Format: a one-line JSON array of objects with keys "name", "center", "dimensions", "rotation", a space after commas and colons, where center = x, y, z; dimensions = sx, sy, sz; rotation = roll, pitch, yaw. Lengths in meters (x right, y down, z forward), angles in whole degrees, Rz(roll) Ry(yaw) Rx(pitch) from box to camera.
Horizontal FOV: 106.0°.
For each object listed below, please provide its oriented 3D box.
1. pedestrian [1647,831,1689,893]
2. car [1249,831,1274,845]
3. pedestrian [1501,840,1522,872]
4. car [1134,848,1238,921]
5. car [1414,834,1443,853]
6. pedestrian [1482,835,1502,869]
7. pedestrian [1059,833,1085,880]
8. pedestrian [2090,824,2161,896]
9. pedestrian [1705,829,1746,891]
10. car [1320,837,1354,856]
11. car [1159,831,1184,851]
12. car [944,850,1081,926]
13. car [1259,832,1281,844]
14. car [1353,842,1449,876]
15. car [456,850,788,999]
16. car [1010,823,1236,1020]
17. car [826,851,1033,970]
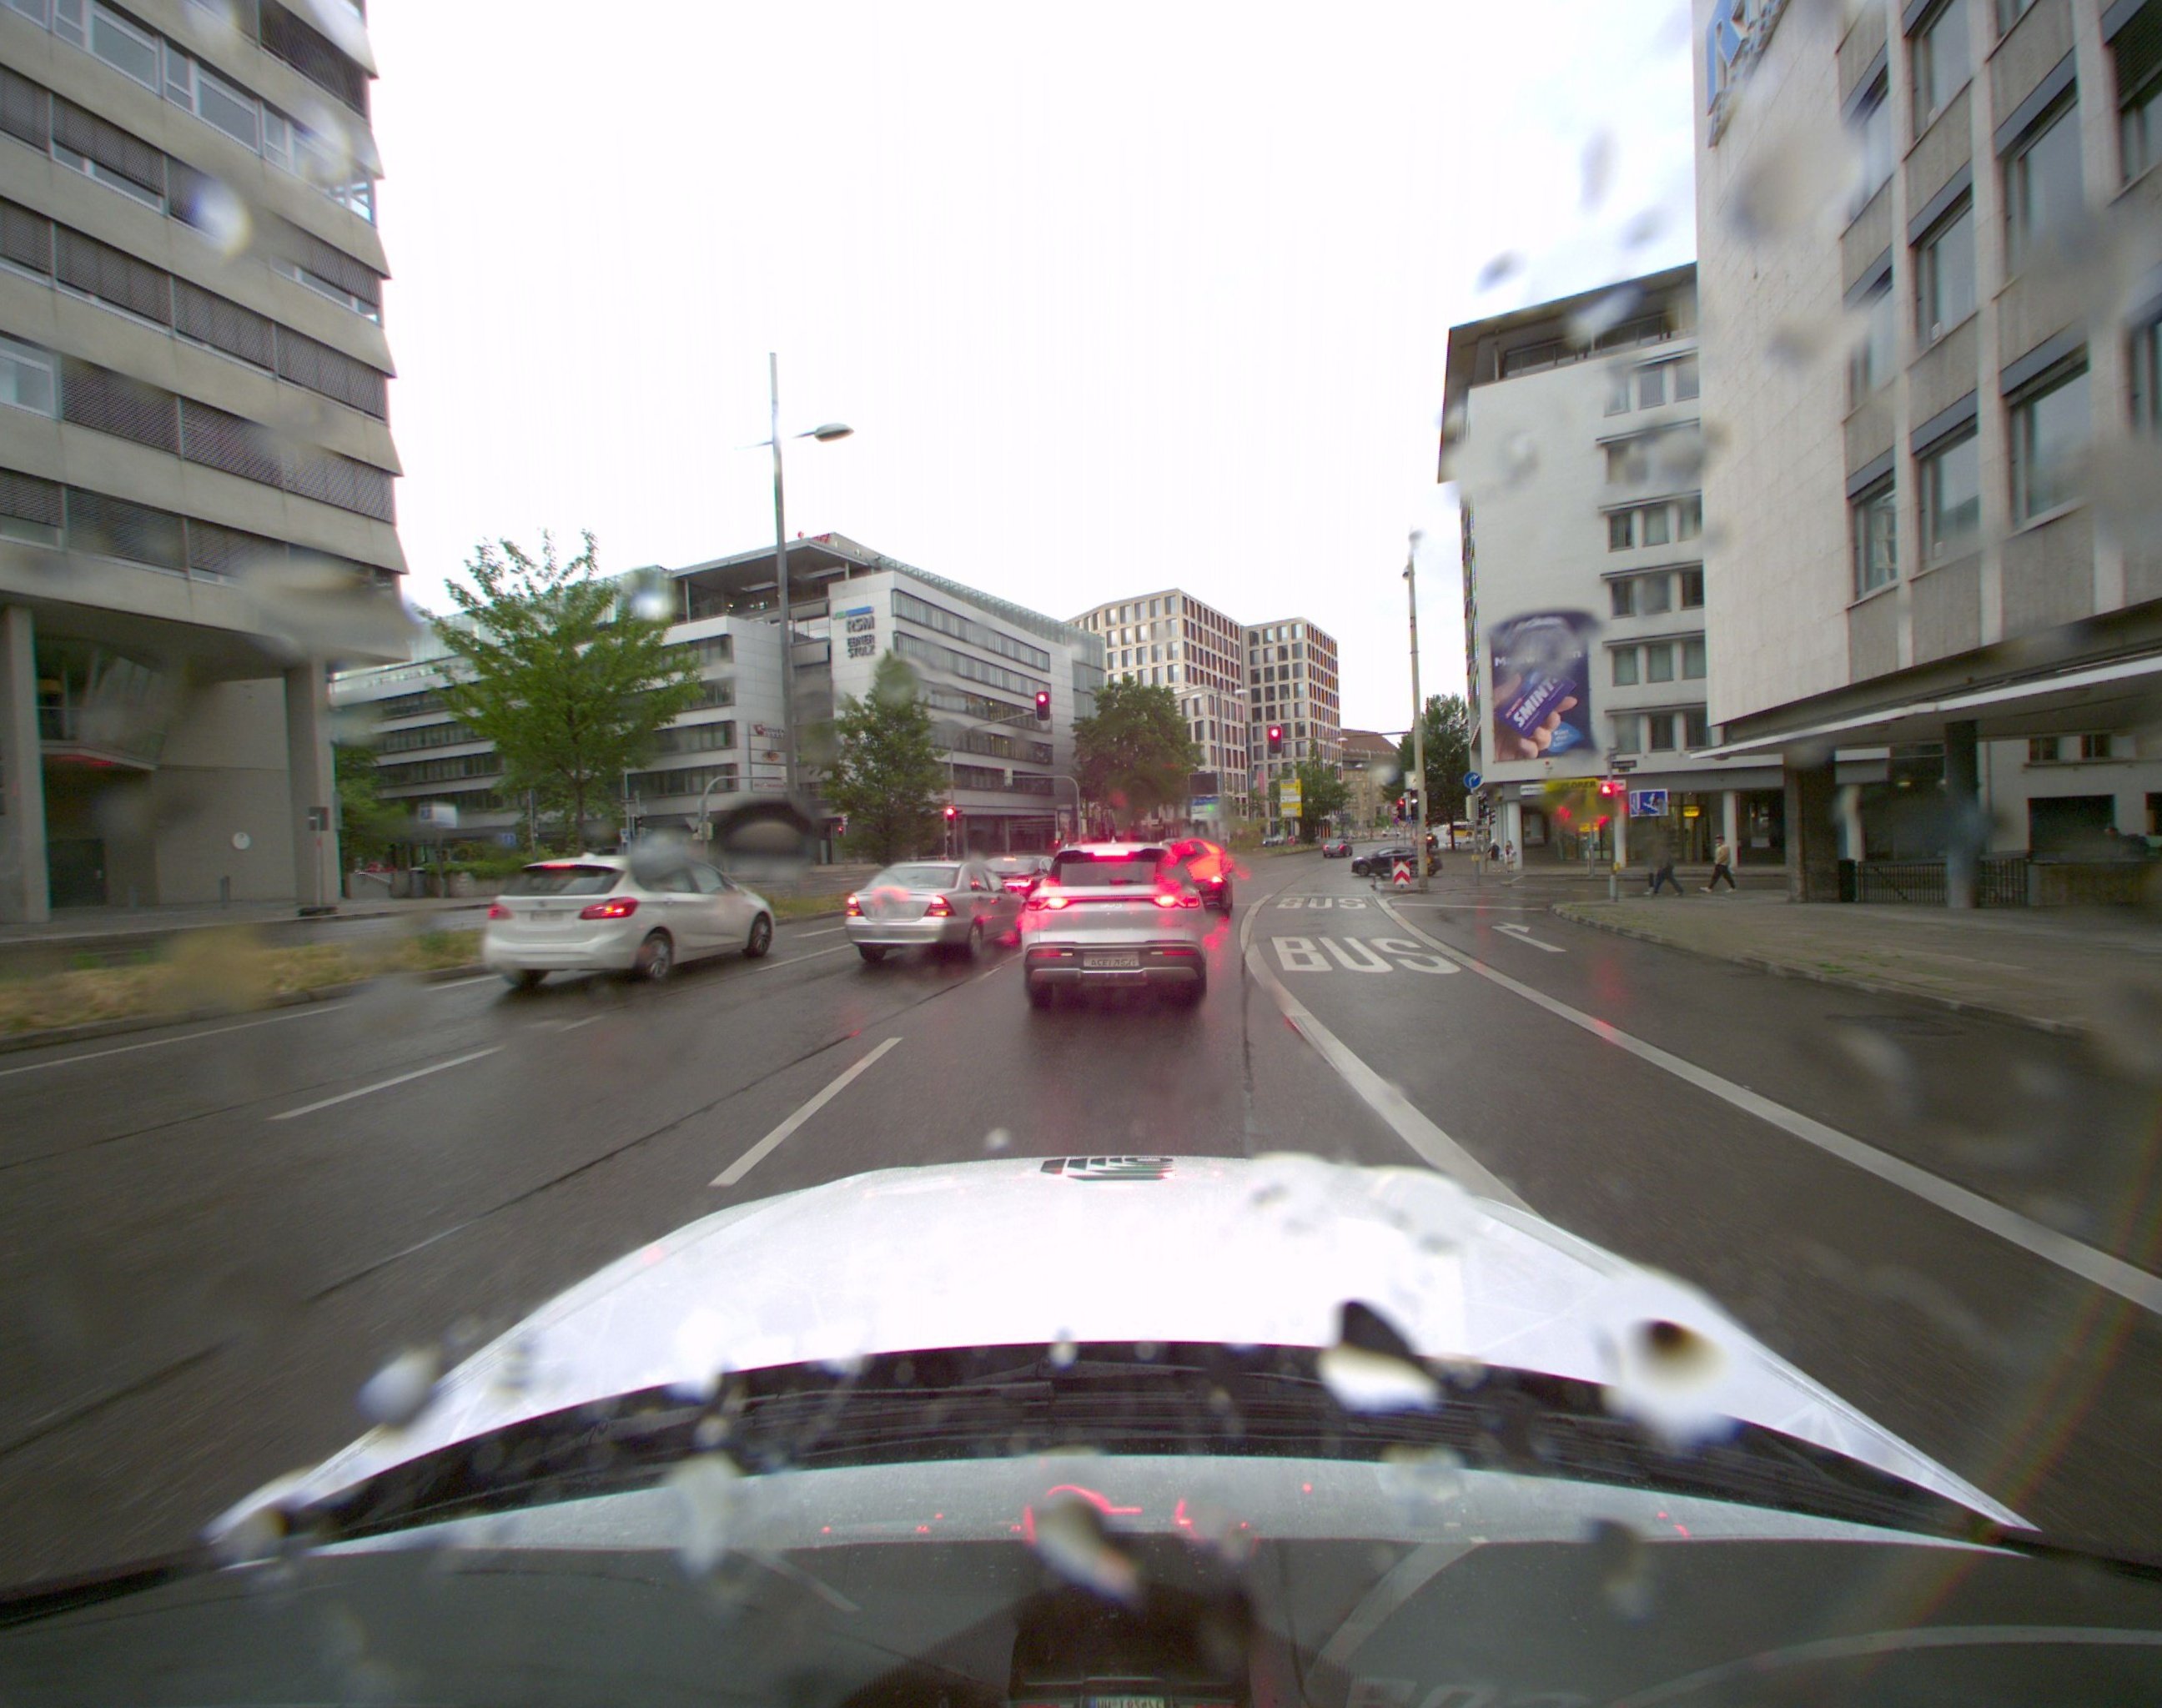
[{"name": "pedestrian", "center": [17.386, 0.245, 24.123], "dimensions": [0.806, 1.798, 0.714], "rotation": [-1, 0, 19]}, {"name": "car", "center": [24.646, -2.201, 111.028], "dimensions": [1.974, 1.705, 4.026], "rotation": [0, 2, 32]}, {"name": "pedestrian", "center": [20.757, 0.099, 39.272], "dimensions": [0.721, 1.524, 0.763], "rotation": [-1, -1, 19]}, {"name": "car", "center": [2.614, 0.656, 19.401], "dimensions": [1.941, 1.530, 4.016], "rotation": [-1, 0, 14]}, {"name": "car", "center": [33.828, -1.033, 79.205], "dimensions": [2.027, 1.765, 4.384], "rotation": [0, 1, 30]}, {"name": "pedestrian", "center": [20.199, -0.092, 40.035], "dimensions": [0.721, 1.668, 0.694], "rotation": [-1, -1, 19]}, {"name": "pedestrian", "center": [-0.343, 0.094, 31.020], "dimensions": [0.919, 1.738, 0.729], "rotation": [-2, 0, -2]}, {"name": "pedestrian", "center": [26.247, 0.140, 20.491], "dimensions": [0.800, 1.755, 1.005], "rotation": [-1, 0, -43]}, {"name": "pedestrian", "center": [19.137, 0.185, 24.205], "dimensions": [0.721, 1.798, 0.743], "rotation": [-1, 0, 19]}, {"name": "car", "center": [20.832, -0.598, 66.233], "dimensions": [1.892, 1.510, 4.383], "rotation": [0, 1, 27]}, {"name": "car", "center": [10.424, -1.492, 93.736], "dimensions": [1.722, 2.161, 4.517], "rotation": [0, 0, 21]}, {"name": "car", "center": [-1.472, 0.716, 19.103], "dimensions": [1.941, 1.530, 4.016], "rotation": [-1, 0, 14]}, {"name": "car", "center": [28.388, -2.395, 122.024], "dimensions": [1.974, 1.705, 4.336], "rotation": [0, 2, 30]}, {"name": "car", "center": [15.544, 0.217, 39.659], "dimensions": [3.948, 1.552, 2.013], "rotation": [0, 1, 37]}, {"name": "car", "center": [-5.781, 0.761, 11.011], "dimensions": [1.775, 1.573, 4.292], "rotation": [-2, 0, 4]}, {"name": "car", "center": [0.379, 0.586, 9.554], "dimensions": [1.987, 1.709, 4.482], "rotation": [-2, 0, 0]}, {"name": "car", "center": [-2.118, 0.737, 12.701], "dimensions": [1.671, 1.486, 4.210], "rotation": [-2, 0, 11]}]
